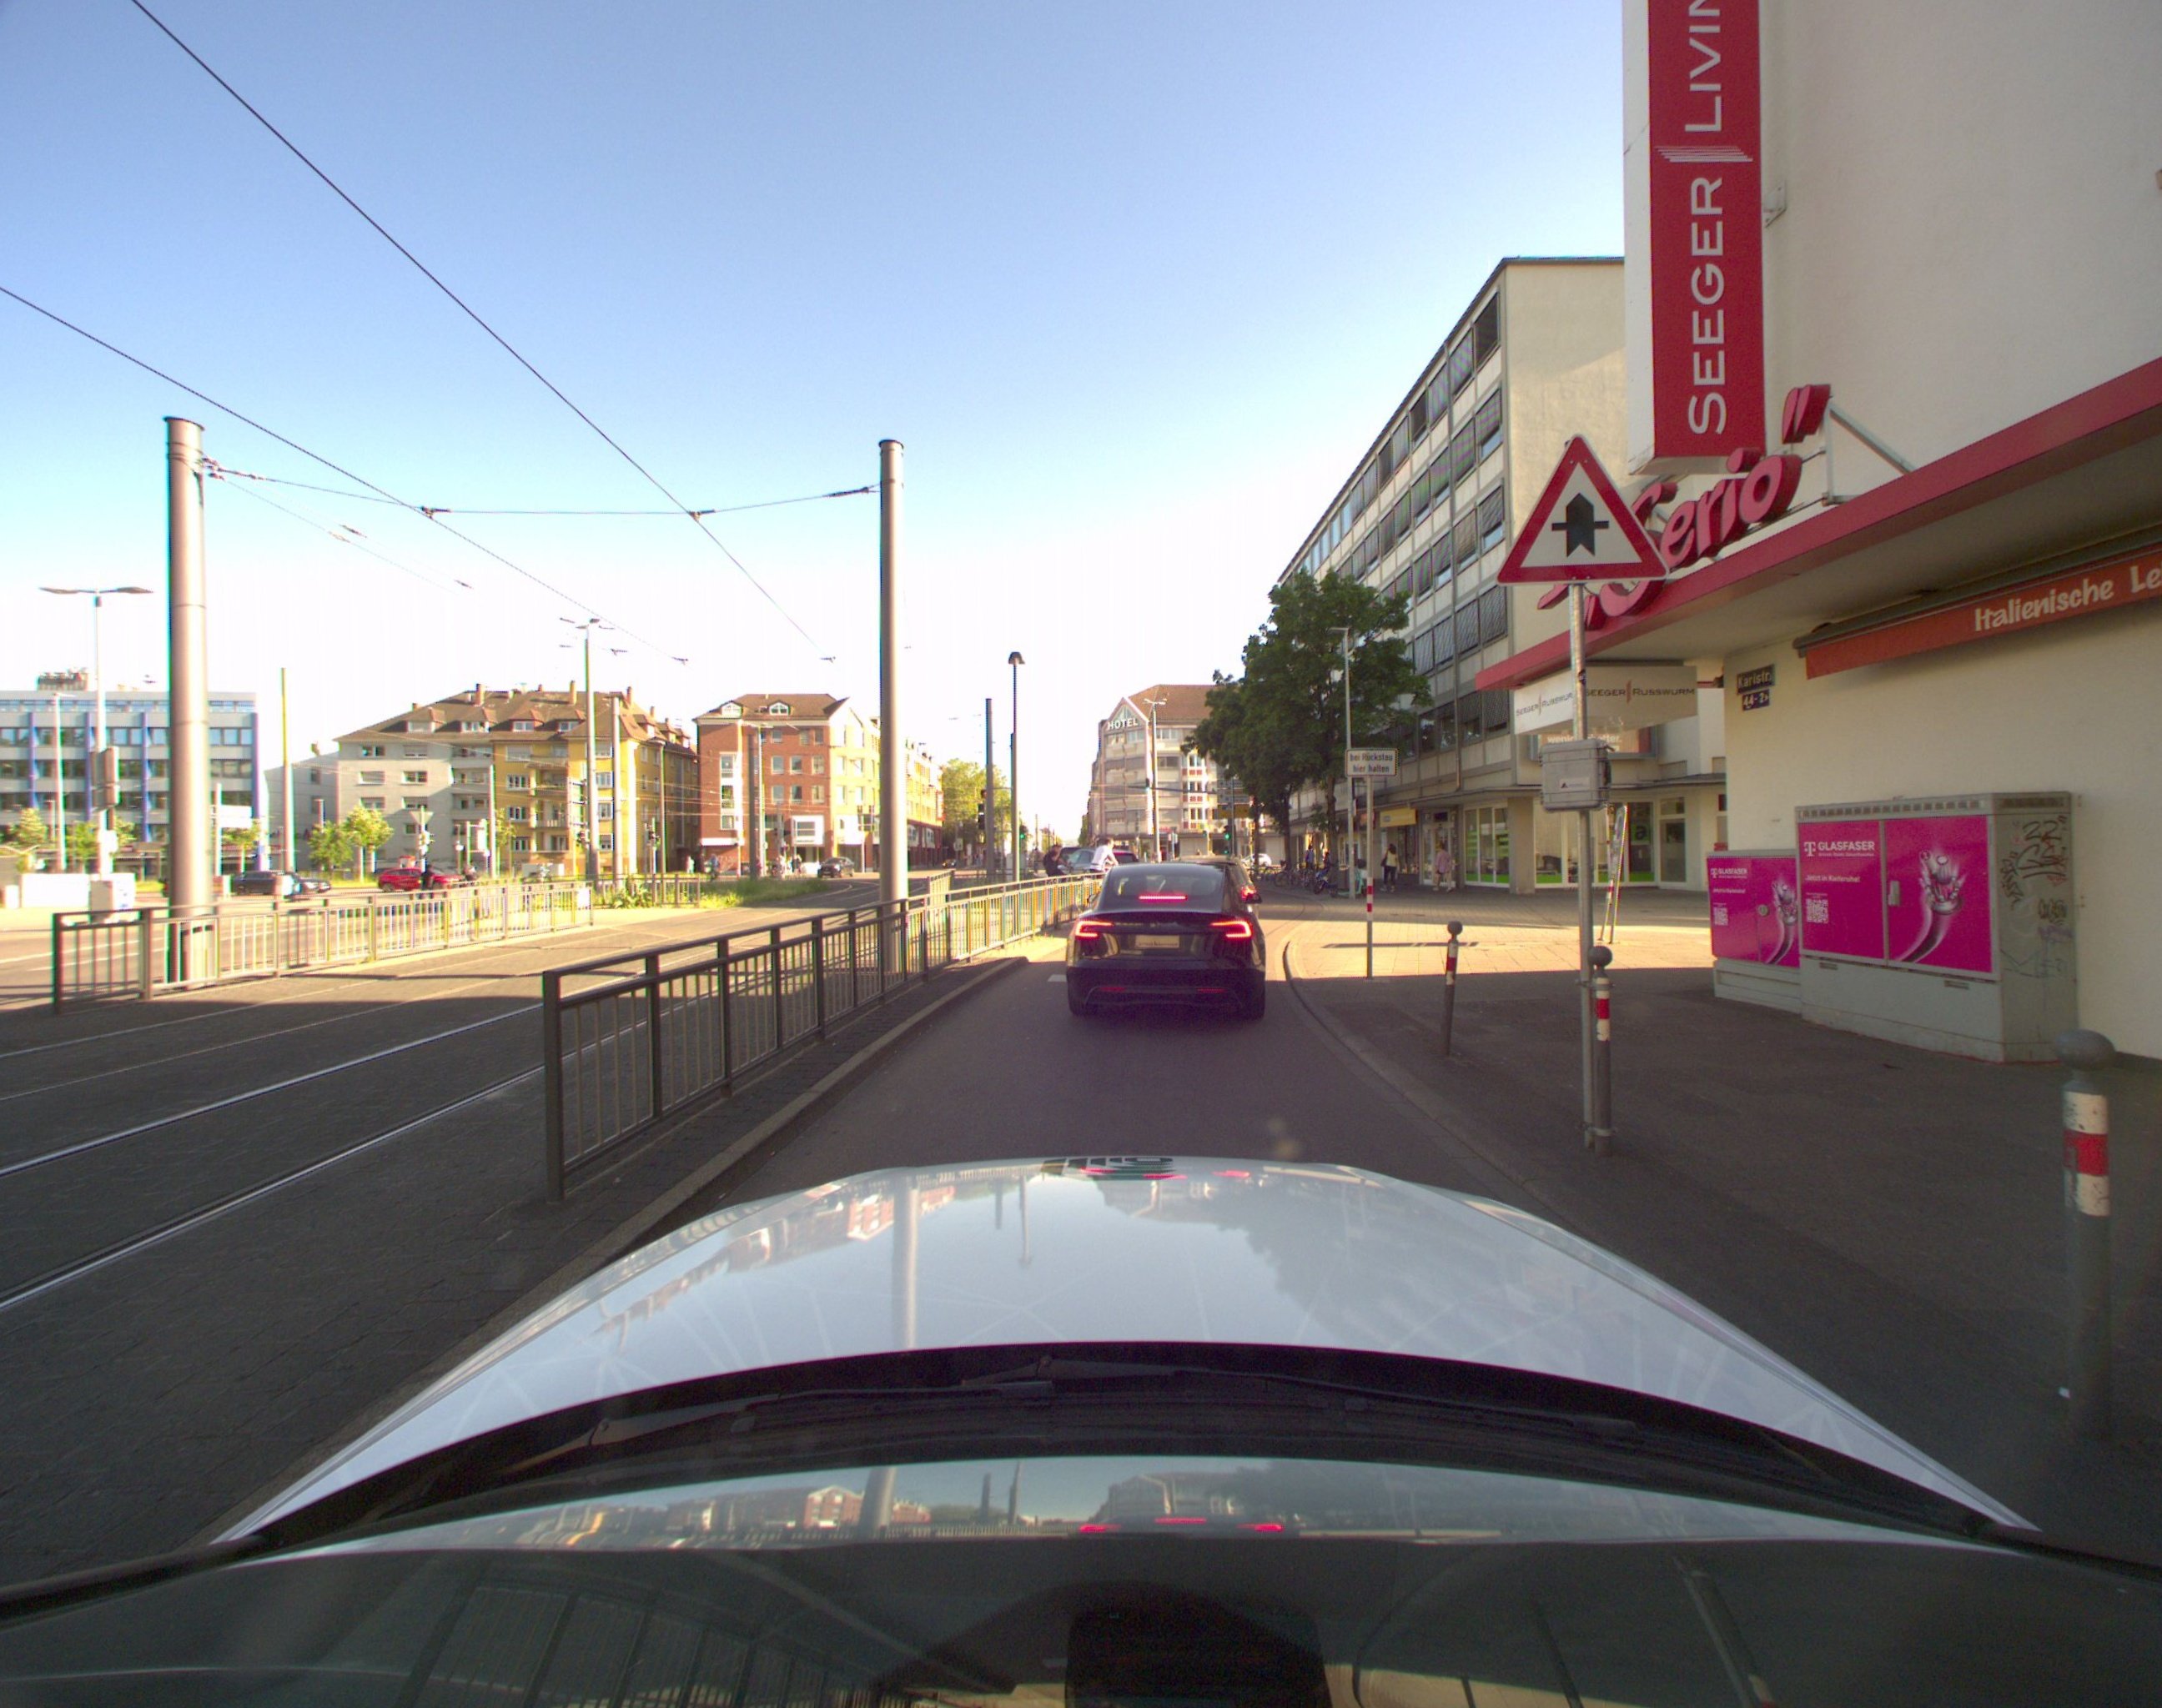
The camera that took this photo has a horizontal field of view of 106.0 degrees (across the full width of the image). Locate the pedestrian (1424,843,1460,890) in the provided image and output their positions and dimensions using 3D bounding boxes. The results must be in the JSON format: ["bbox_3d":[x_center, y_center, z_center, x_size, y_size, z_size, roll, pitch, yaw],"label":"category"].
[{"bbox_3d":[12.555,0.432,28.347,0.840,1.602,0.880,0,-1,1],"label":"pedestrian"}]

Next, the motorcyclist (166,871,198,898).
[{"bbox_3d":[-51.765,1.750,46.896,0.919,1.524,0.781,0,-1,-5],"label":"motorcyclist"}]

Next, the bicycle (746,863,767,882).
[{"bbox_3d":[-21.450,1.215,53.791,0.527,1.214,1.887,0,-1,4],"label":"bicycle"}]

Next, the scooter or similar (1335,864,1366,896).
[{"bbox_3d":[8.953,0.860,27.019,0.952,1.039,0.160,-1,0,4],"label":"scooter or similar"}]

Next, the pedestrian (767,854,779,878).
[{"bbox_3d":[-25.902,1.040,68.508,0.592,2.014,0.831,0,-1,4],"label":"pedestrian"}]

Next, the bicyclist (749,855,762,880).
[{"bbox_3d":[-21.451,0.877,53.743,0.518,1.673,0.771,0,-1,3],"label":"bicyclist"}]

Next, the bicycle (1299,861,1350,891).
[{"bbox_3d":[9.314,0.831,31.159,1.850,1.056,0.398,-2,0,-10],"label":"bicycle"}]

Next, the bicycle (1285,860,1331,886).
[{"bbox_3d":[9.259,0.776,33.252,1.758,1.057,0.459,0,-1,6],"label":"bicycle"}]

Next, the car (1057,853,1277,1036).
[{"bbox_3d":[0.883,0.733,8.610,1.782,1.450,3.946,0,1,5],"label":"car"}]

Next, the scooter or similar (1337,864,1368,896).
[{"bbox_3d":[8.938,0.846,26.821,0.959,1.043,0.160,-1,0,4],"label":"scooter or similar"}]

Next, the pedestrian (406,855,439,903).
[{"bbox_3d":[-27.157,1.026,33.585,0.716,1.934,0.802,-1,-1,22],"label":"pedestrian"}]

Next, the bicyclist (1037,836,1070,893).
[{"bbox_3d":[-0.756,0.282,22.377,0.685,1.523,0.629,0,-1,-29],"label":"bicyclist"}]

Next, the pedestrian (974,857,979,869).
[{"bbox_3d":[-14.066,1.183,109.694,0.584,1.531,0.634,0,-1,-15],"label":"pedestrian"}]

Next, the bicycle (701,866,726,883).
[{"bbox_3d":[-22.197,1.220,49.206,0.527,1.013,1.887,0,-1,4],"label":"bicycle"}]

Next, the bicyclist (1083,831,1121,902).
[{"bbox_3d":[0.485,0.286,19.186,0.686,1.631,0.572,0,-1,-36],"label":"bicyclist"}]

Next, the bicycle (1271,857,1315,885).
[{"bbox_3d":[9.179,0.749,35.254,1.805,1.151,0.435,-1,-1,-3],"label":"bicycle"}]

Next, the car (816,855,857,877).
[{"bbox_3d":[-18.010,0.878,60.212,1.678,1.560,4.124,0,-1,2],"label":"car"}]

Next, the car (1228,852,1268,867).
[{"bbox_3d":[17.637,0.582,86.191,3.832,1.432,1.801,-1,-2,-4],"label":"car"}]

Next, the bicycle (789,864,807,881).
[{"bbox_3d":[-21.802,1.402,62.847,0.571,1.291,2.028,0,-1,3],"label":"bicycle"}]

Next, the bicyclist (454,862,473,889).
[{"bbox_3d":[-34.868,1.223,45.992,0.615,1.493,0.607,0,-1,-12],"label":"bicyclist"}]

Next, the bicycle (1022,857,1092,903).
[{"bbox_3d":[-0.659,0.707,22.423,1.831,1.212,0.635,0,-1,-29],"label":"bicycle"}]

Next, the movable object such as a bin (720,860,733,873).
[{"bbox_3d":[-38.277,1.329,87.932,0.995,1.437,1.093,0,-1,-8],"label":"movable object such as a bin"}]

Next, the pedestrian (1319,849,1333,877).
[{"bbox_3d":[12.695,0.469,42.139,0.640,1.422,0.623,-1,-1,12],"label":"pedestrian"}]

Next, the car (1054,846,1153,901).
[{"bbox_3d":[0.652,0.588,26.338,1.848,1.635,3.457,0,-1,-25],"label":"car"}]

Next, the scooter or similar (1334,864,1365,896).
[{"bbox_3d":[8.967,0.871,27.219,0.959,1.027,0.160,-1,0,4],"label":"scooter or similar"}]

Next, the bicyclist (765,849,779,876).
[{"bbox_3d":[-19.419,0.551,51.217,0.522,1.673,0.771,0,-1,3],"label":"bicyclist"}]

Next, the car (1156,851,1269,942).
[{"bbox_3d":[2.357,0.668,15.245,1.755,1.444,4.537,0,0,7],"label":"car"}]

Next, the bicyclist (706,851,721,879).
[{"bbox_3d":[-22.202,0.691,49.147,0.518,1.673,0.771,0,-1,4],"label":"bicyclist"}]

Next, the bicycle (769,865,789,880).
[{"bbox_3d":[-22.155,1.349,59.791,0.647,1.013,1.887,0,-1,4],"label":"bicycle"}]

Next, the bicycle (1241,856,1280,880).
[{"bbox_3d":[9.340,0.739,42.361,1.882,1.156,0.480,-2,-1,2],"label":"bicycle"}]

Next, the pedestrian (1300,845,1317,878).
[{"bbox_3d":[11.857,0.389,42.477,0.837,1.721,0.883,-1,-1,13],"label":"pedestrian"}]

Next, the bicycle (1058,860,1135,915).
[{"bbox_3d":[0.377,0.758,19.110,1.834,1.212,0.576,0,-1,-37],"label":"bicycle"}]

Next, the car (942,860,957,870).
[{"bbox_3d":[-20.660,1.695,128.064,1.814,1.454,3.971,-2,0,-4],"label":"car"}]

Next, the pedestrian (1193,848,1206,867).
[{"bbox_3d":[10.065,0.274,69.270,0.780,1.576,0.864,0,1,-13],"label":"pedestrian"}]

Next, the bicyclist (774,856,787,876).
[{"bbox_3d":[-22.156,0.860,60.006,0.661,1.454,0.731,0,-1,3],"label":"bicyclist"}]

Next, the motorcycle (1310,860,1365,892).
[{"bbox_3d":[9.164,0.793,29.134,1.781,1.130,0.504,0,-1,-1],"label":"motorcycle"}]

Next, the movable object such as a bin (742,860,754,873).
[{"bbox_3d":[-35.991,1.363,88.044,0.995,1.437,1.093,0,-1,-8],"label":"movable object such as a bin"}]

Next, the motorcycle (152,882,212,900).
[{"bbox_3d":[-51.746,2.101,46.899,2.355,0.984,0.790,0,-1,-6],"label":"motorcycle"}]

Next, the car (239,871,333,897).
[{"bbox_3d":[-46.254,1.732,47.447,3.695,1.472,1.572,0,-1,-6],"label":"car"}]

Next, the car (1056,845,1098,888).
[{"bbox_3d":[-0.156,0.485,33.042,1.568,1.618,3.782,0,-1,0],"label":"car"}]

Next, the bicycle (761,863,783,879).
[{"bbox_3d":[-19.416,1.056,51.211,0.527,1.013,1.899,0,-1,4],"label":"bicycle"}]

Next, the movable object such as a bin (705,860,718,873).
[{"bbox_3d":[-39.752,1.342,87.714,0.995,1.437,1.093,0,-1,-8],"label":"movable object such as a bin"}]

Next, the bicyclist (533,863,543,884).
[{"bbox_3d":[-34.881,1.269,52.312,0.459,1.316,0.398,0,-1,-14],"label":"bicyclist"}]

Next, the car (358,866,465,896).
[{"bbox_3d":[-39.645,1.582,48.309,4.548,1.509,1.777,-2,0,-9],"label":"car"}]

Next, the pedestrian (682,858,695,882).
[{"bbox_3d":[-28.187,1.112,58.507,0.624,1.688,0.703,0,1,-11],"label":"pedestrian"}]

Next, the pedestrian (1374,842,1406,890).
[{"bbox_3d":[11.216,0.437,29.577,0.840,1.707,0.880,0,-1,1],"label":"pedestrian"}]

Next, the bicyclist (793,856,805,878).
[{"bbox_3d":[-21.799,1.012,62.976,0.586,1.649,0.807,0,-1,3],"label":"bicyclist"}]

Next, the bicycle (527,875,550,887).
[{"bbox_3d":[-34.852,1.717,52.296,1.174,0.764,0.318,0,-1,-15],"label":"bicycle"}]

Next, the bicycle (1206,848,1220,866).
[{"bbox_3d":[11.246,0.237,69.322,0.583,1.463,1.678,-1,0,-13],"label":"bicycle"}]

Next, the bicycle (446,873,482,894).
[{"bbox_3d":[-34.850,1.665,45.999,1.497,1.133,0.609,-1,-1,-13],"label":"bicycle"}]
